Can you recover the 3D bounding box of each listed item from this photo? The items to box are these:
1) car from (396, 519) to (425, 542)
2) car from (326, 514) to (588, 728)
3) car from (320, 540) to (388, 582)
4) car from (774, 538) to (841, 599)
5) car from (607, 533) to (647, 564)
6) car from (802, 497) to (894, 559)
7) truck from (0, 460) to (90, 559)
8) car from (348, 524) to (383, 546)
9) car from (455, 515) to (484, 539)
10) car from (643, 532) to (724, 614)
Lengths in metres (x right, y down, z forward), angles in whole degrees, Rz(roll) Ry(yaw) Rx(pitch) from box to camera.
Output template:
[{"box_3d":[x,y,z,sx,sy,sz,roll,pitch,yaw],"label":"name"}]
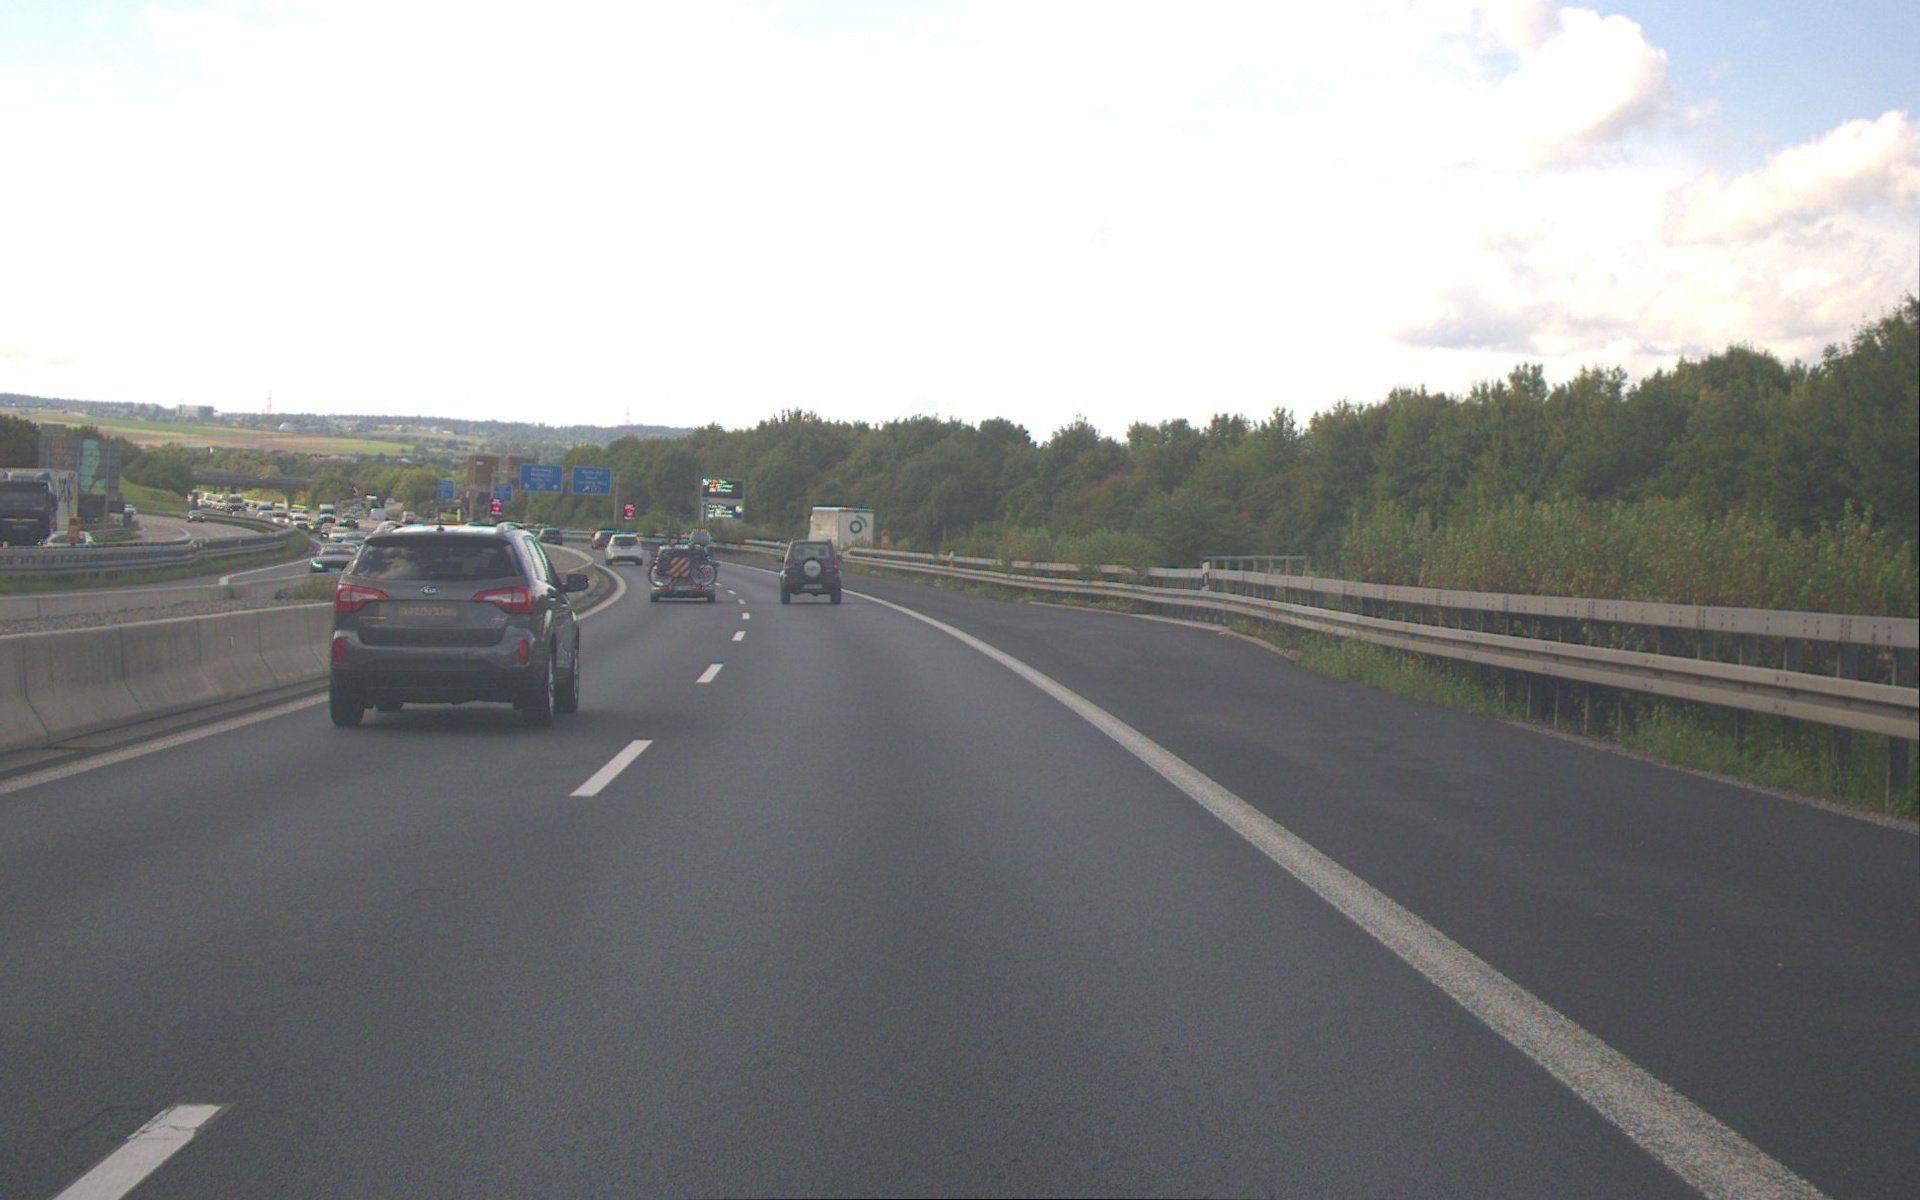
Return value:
[{"box_3d":[-38.107,-4.812,238.431,1.885,1.604,4.968,0,1,-8],"label":"car"},{"box_3d":[-4.389,0.148,30.700,1.817,1.730,5.187,1,1,-3],"label":"car"},{"box_3d":[-22.441,-1.430,127.434,1.874,1.442,5.122,1,0,-3],"label":"car"},{"box_3d":[-4.171,-0.862,93.426,1.587,1.591,4.096,1,1,-5],"label":"car"},{"box_3d":[-18.514,-2.850,190.949,1.993,1.678,4.001,1,0,-9],"label":"car"},{"box_3d":[-8.303,-5.227,252.868,4.727,4.251,11.407,1,0,-12],"label":"car"},{"box_3d":[-40.094,-3.874,149.678,2.901,3.955,10.466,1,0,-7],"label":"truck"},{"box_3d":[-38.559,-4.201,222.976,1.993,1.397,4.814,0,1,-7],"label":"car"},{"box_3d":[-35.371,-5.232,247.795,1.885,1.697,4.968,0,1,-10],"label":"car"},{"box_3d":[-7.567,-0.765,94.510,2.030,2.144,4.001,1,1,-2],"label":"car"}]
